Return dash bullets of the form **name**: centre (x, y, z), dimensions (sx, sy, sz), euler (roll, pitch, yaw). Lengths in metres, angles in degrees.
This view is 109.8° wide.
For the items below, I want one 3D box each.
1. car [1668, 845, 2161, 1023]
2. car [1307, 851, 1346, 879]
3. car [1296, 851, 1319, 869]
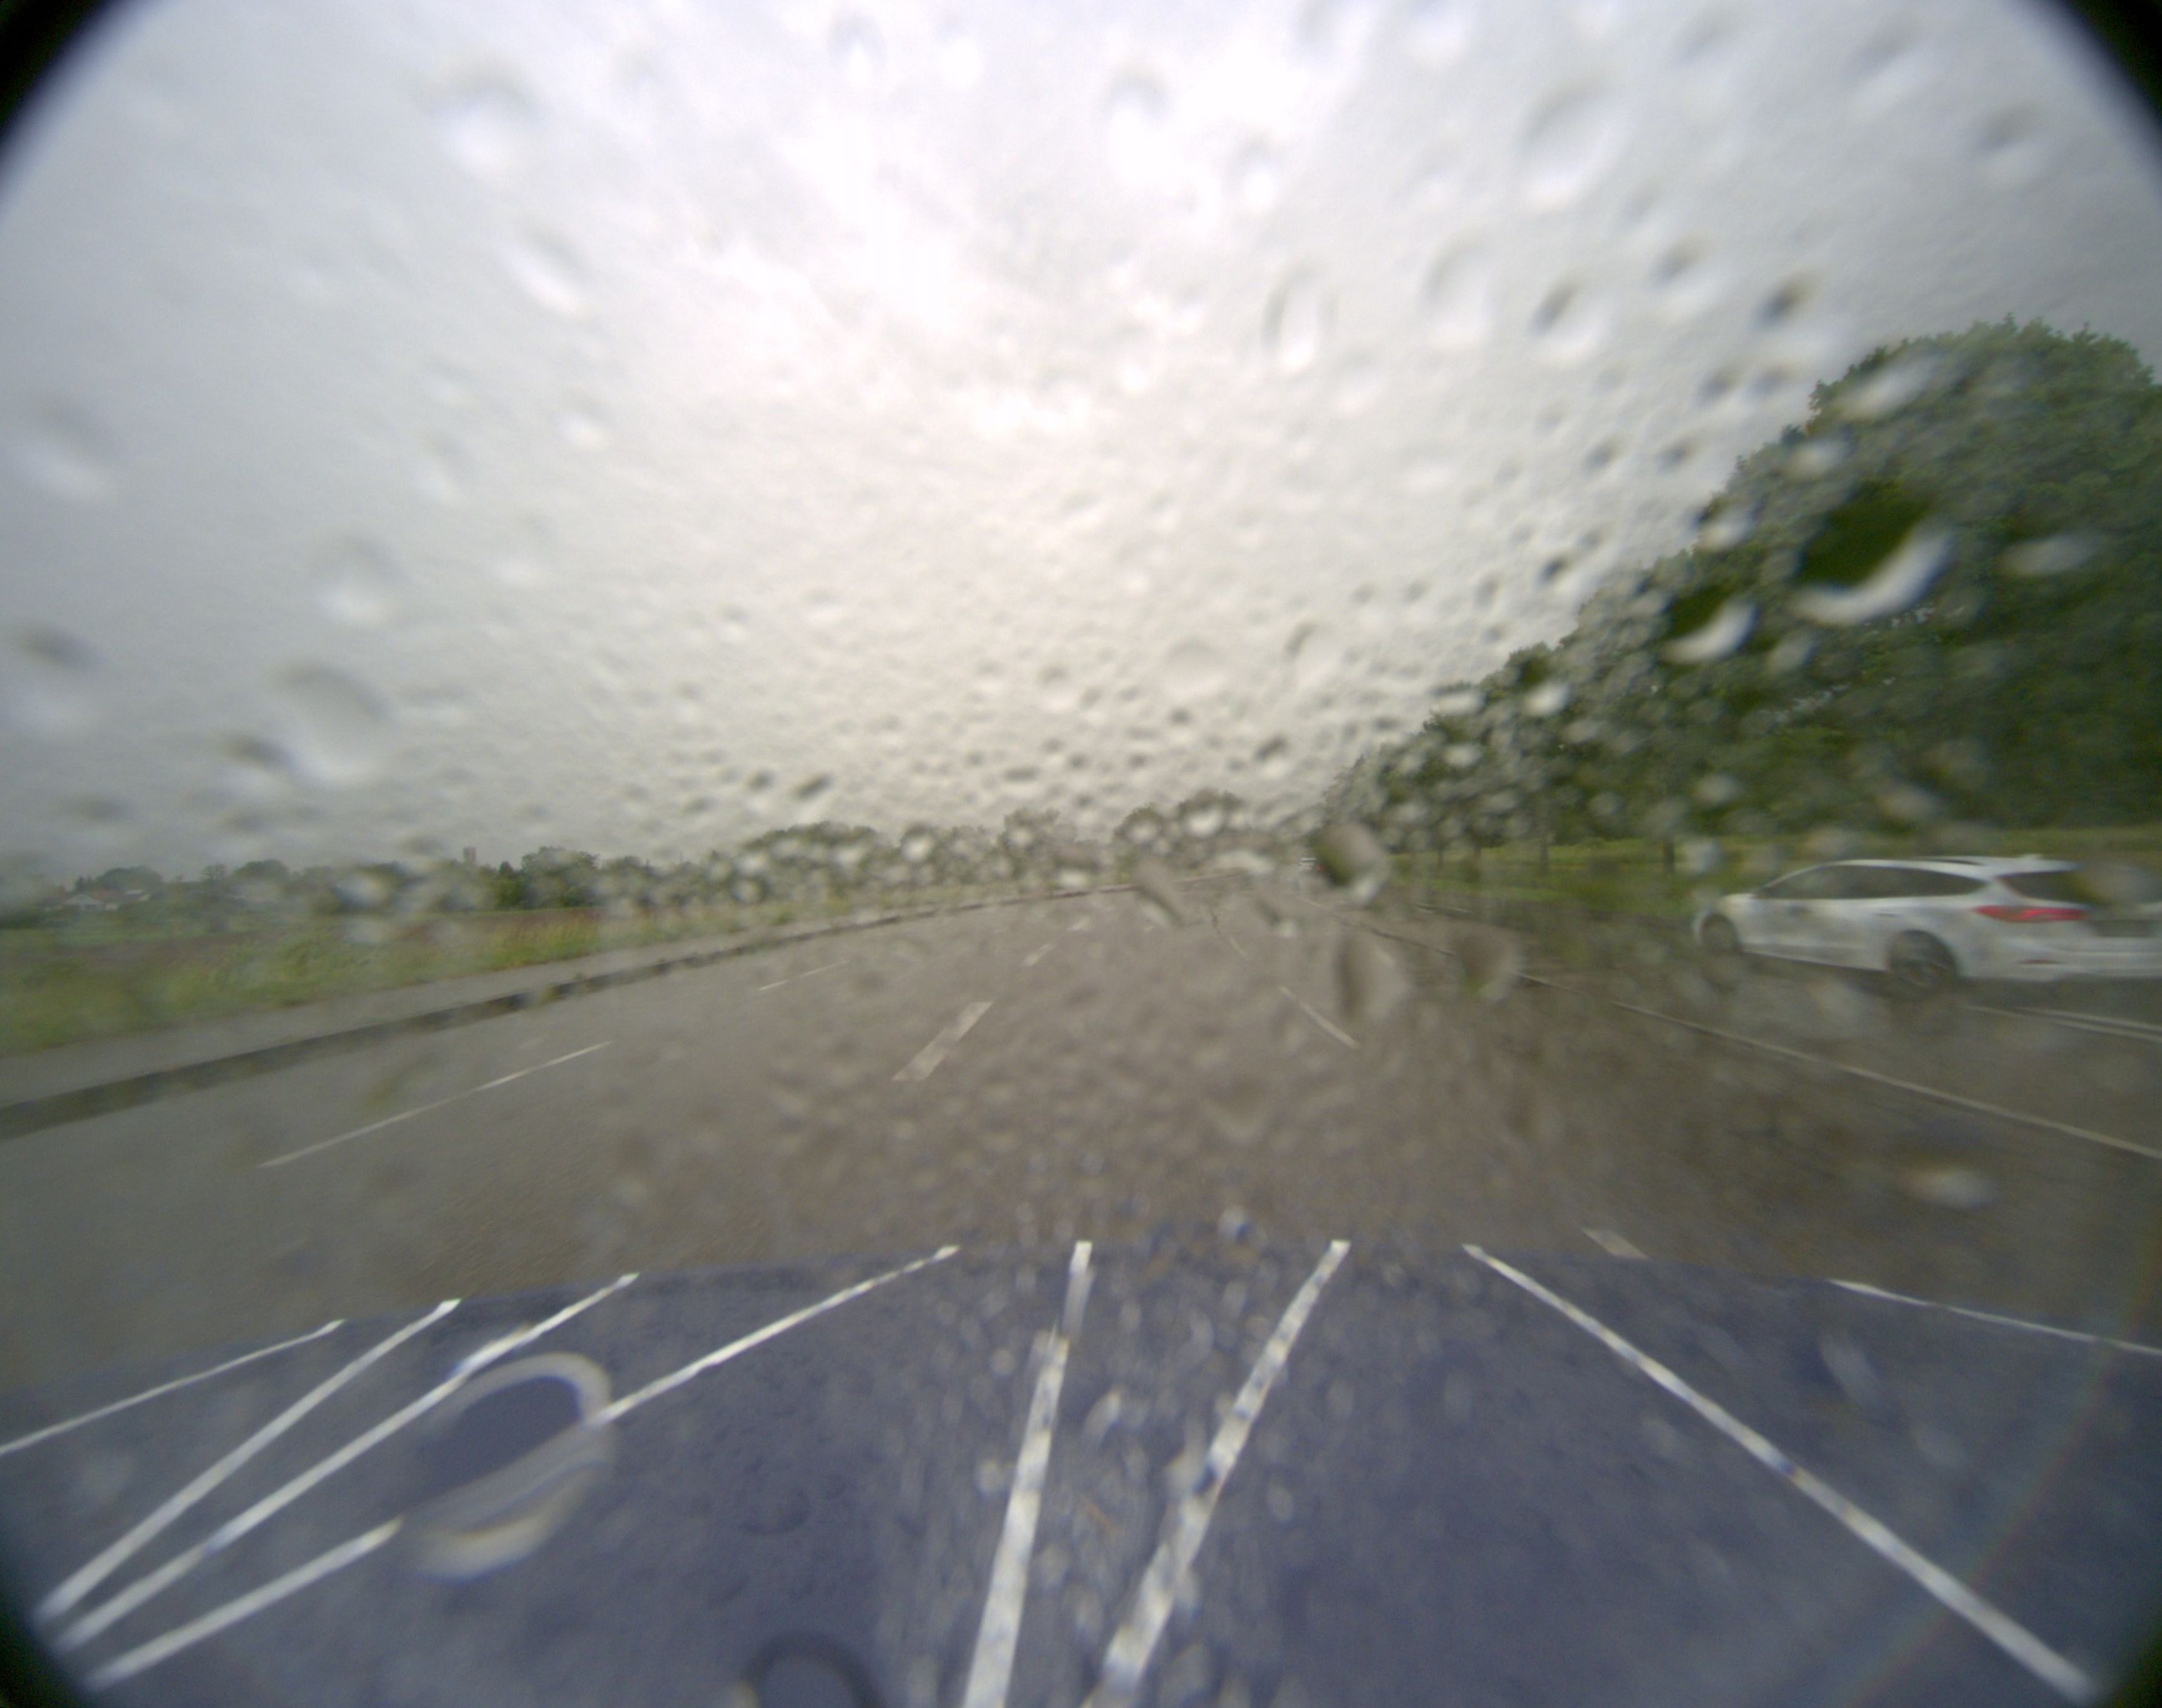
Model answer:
- **car**: centre (9.723, 0.696, 9.077), dimensions (1.883, 1.564, 4.644), euler (-1, 0, 1)
- **car**: centre (15.723, 0.660, 48.793), dimensions (1.887, 1.578, 4.122), euler (-4, 0, 12)
- **car**: centre (19.362, 0.499, 65.064), dimensions (1.741, 1.478, 4.015), euler (-1, 0, 14)
